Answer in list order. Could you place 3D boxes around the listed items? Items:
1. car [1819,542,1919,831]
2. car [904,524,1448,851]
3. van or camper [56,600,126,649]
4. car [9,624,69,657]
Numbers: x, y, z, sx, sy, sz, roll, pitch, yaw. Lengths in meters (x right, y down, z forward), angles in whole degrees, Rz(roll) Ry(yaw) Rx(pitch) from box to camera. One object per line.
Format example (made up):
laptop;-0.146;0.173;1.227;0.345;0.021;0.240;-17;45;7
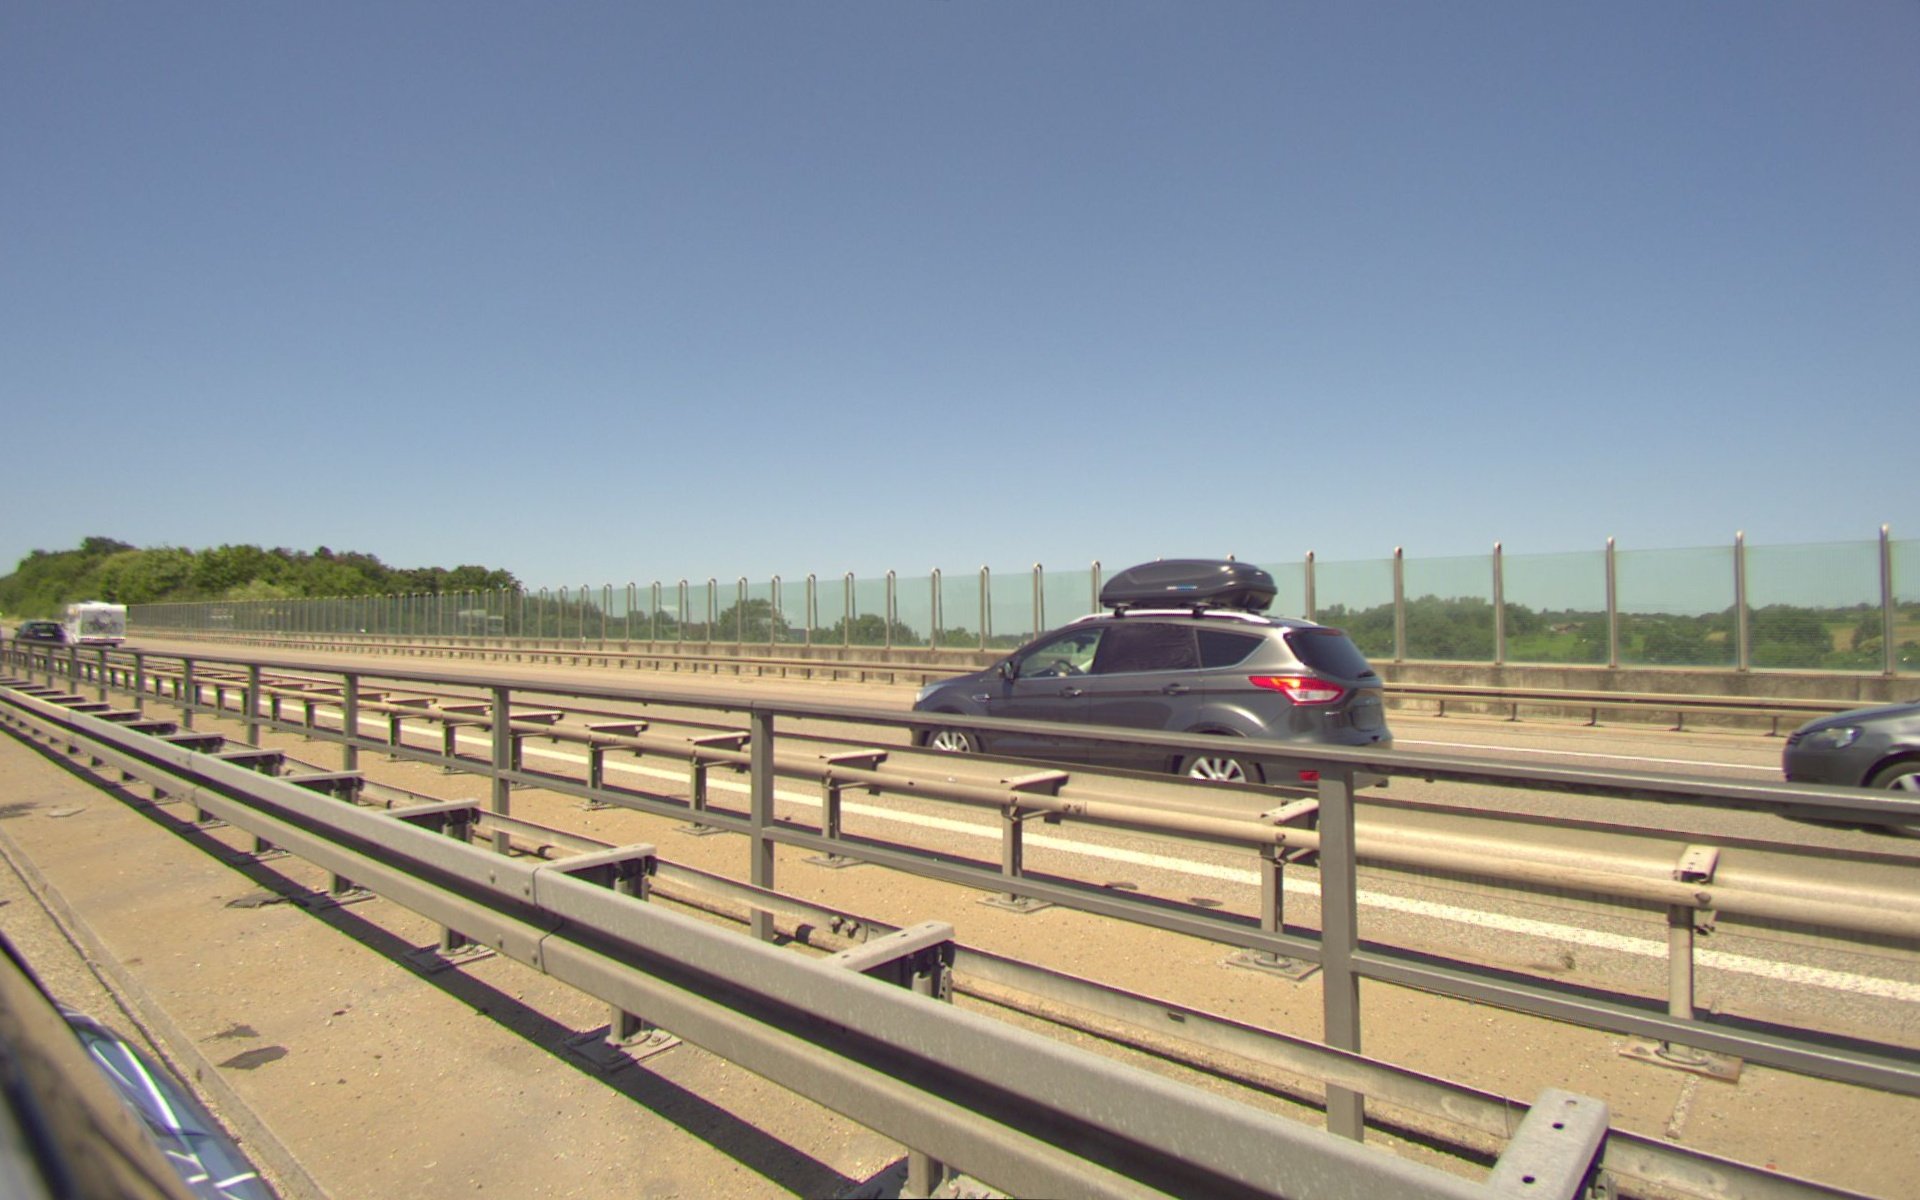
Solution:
car;9.245;0.689;7.555;4.265;2.233;1.973;-2;-4;41
car;1.692;0.663;8.801;4.266;2.147;1.843;-2;-4;42
van or camper;-56.656;1.639;65.917;7.023;3.047;2.397;-2;-4;41
car;-50.288;2.188;55.232;4.428;1.713;1.847;-1;-4;41
